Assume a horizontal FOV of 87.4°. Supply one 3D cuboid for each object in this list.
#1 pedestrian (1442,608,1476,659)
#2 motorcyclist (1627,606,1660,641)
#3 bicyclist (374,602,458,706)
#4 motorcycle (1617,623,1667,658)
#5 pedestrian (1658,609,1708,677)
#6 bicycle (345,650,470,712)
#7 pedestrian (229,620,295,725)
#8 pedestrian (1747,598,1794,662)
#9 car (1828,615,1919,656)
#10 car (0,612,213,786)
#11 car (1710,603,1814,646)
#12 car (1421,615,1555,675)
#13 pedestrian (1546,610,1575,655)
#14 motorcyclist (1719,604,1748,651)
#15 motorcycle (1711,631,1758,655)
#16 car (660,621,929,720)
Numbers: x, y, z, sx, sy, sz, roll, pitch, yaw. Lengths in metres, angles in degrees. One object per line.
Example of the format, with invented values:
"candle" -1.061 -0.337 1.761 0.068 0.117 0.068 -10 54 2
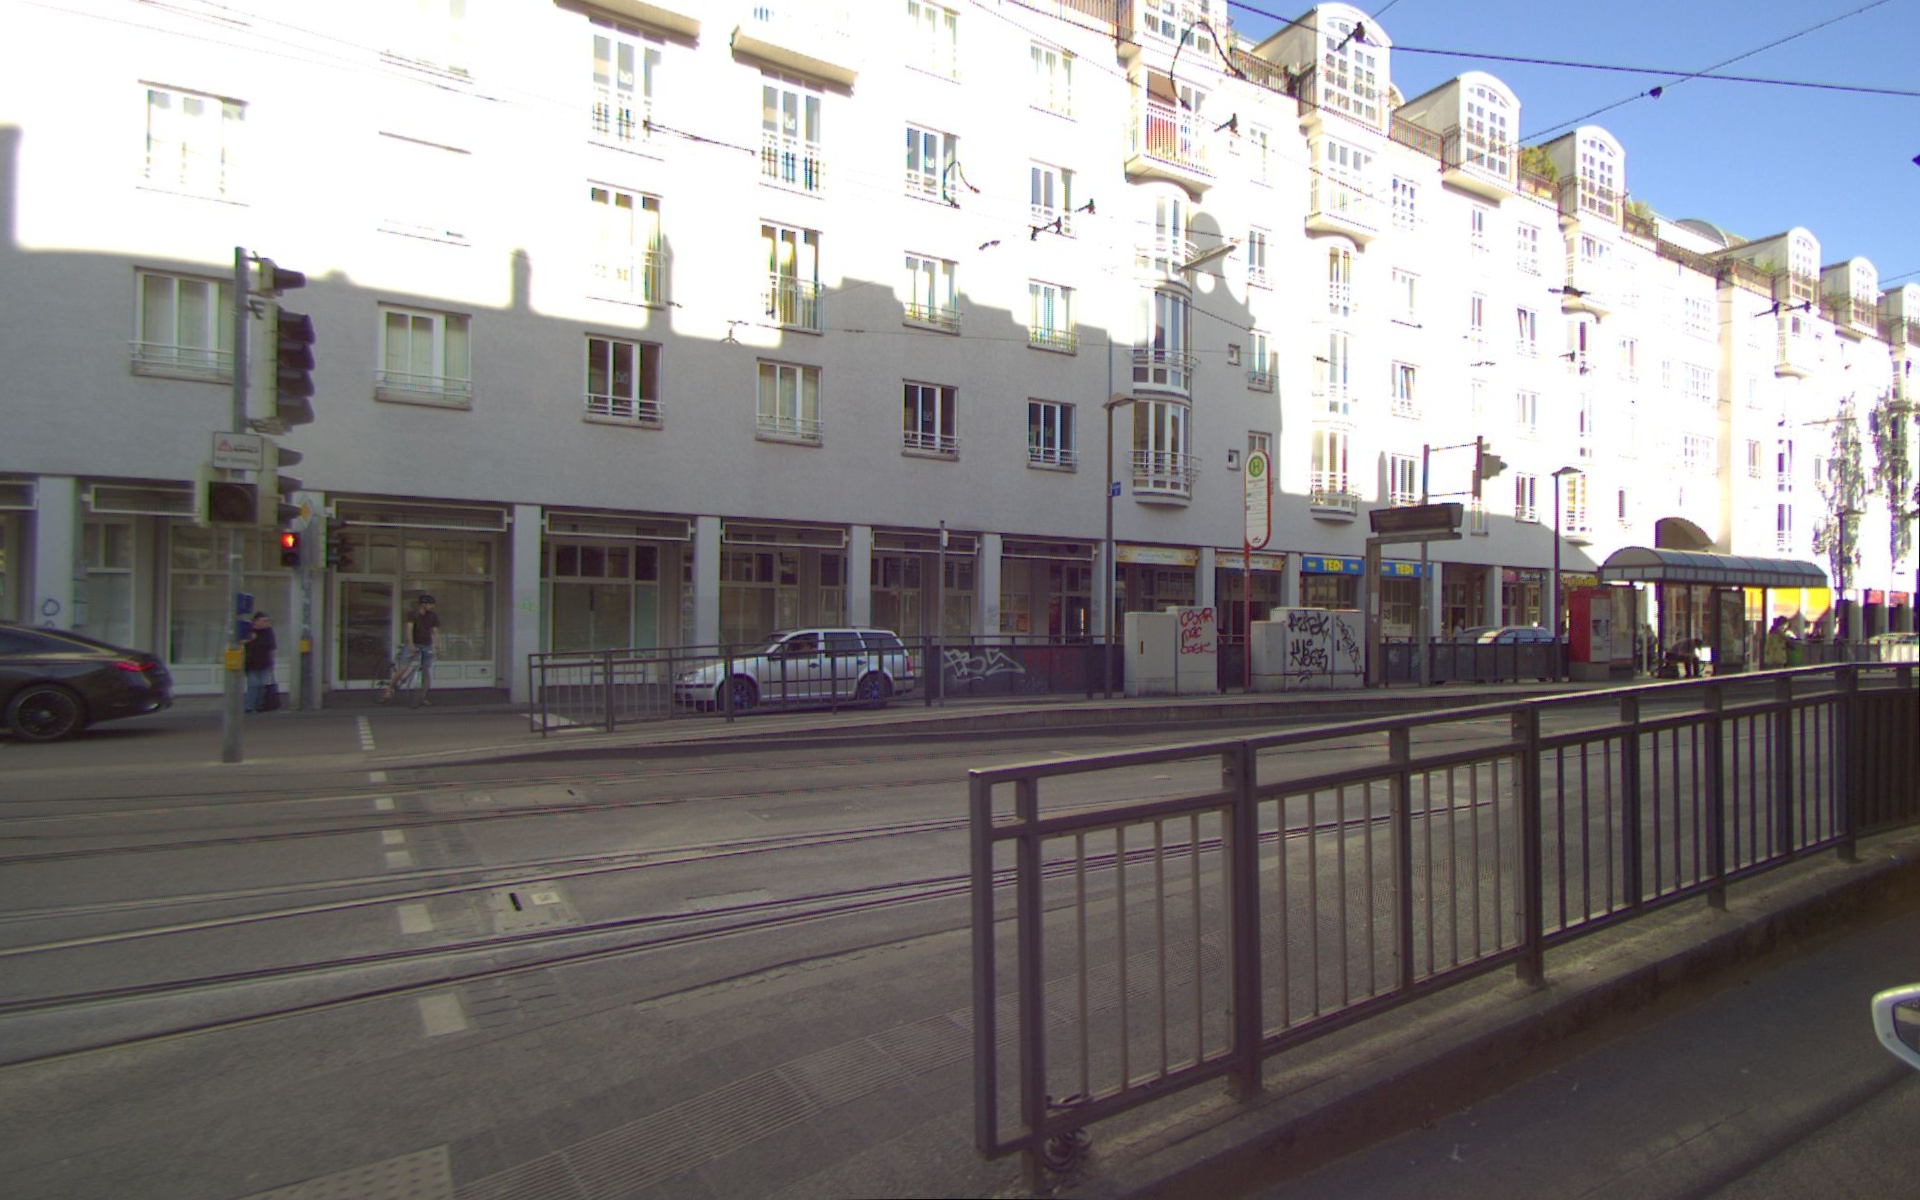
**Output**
"pedestrian" 16.511 1.100 33.266 0.591 1.643 0.837 0 -1 -34
"motorcyclist" 22.053 0.747 32.411 0.817 1.088 0.556 2 0 -29
"bicyclist" -9.226 0.900 17.061 1.009 1.718 0.724 0 0 -2
"motorcycle" 22.015 1.325 32.433 1.822 1.088 0.556 2 0 -29
"pedestrian" 16.903 0.994 23.473 0.734 1.548 0.727 0 0 -31
"bicycle" -9.327 1.360 17.000 1.727 0.993 0.678 0 0 -3
"pedestrian" -10.761 1.096 15.494 0.434 1.555 0.683 -1 1 23
"pedestrian" 20.419 0.733 25.309 0.734 1.580 0.727 0 0 -31
"car" 34.736 1.304 38.070 3.602 1.440 1.683 0 0 -30
"car" -11.791 1.110 11.839 4.556 1.936 2.216 1 -1 -31
"car" 28.380 0.832 35.516 3.602 1.440 1.683 0 0 -30
"car" 14.779 1.201 28.090 3.602 1.530 1.683 0 0 -30
"pedestrian" 22.263 1.205 37.213 0.835 1.643 0.593 0 -1 -30
"motorcyclist" 25.525 0.916 33.144 0.713 1.522 0.484 2 0 -29
"motorcycle" 25.627 1.421 33.209 1.982 0.729 0.491 2 0 -30
"car" -2.853 1.154 17.659 4.354 1.535 1.720 1 -1 -31
